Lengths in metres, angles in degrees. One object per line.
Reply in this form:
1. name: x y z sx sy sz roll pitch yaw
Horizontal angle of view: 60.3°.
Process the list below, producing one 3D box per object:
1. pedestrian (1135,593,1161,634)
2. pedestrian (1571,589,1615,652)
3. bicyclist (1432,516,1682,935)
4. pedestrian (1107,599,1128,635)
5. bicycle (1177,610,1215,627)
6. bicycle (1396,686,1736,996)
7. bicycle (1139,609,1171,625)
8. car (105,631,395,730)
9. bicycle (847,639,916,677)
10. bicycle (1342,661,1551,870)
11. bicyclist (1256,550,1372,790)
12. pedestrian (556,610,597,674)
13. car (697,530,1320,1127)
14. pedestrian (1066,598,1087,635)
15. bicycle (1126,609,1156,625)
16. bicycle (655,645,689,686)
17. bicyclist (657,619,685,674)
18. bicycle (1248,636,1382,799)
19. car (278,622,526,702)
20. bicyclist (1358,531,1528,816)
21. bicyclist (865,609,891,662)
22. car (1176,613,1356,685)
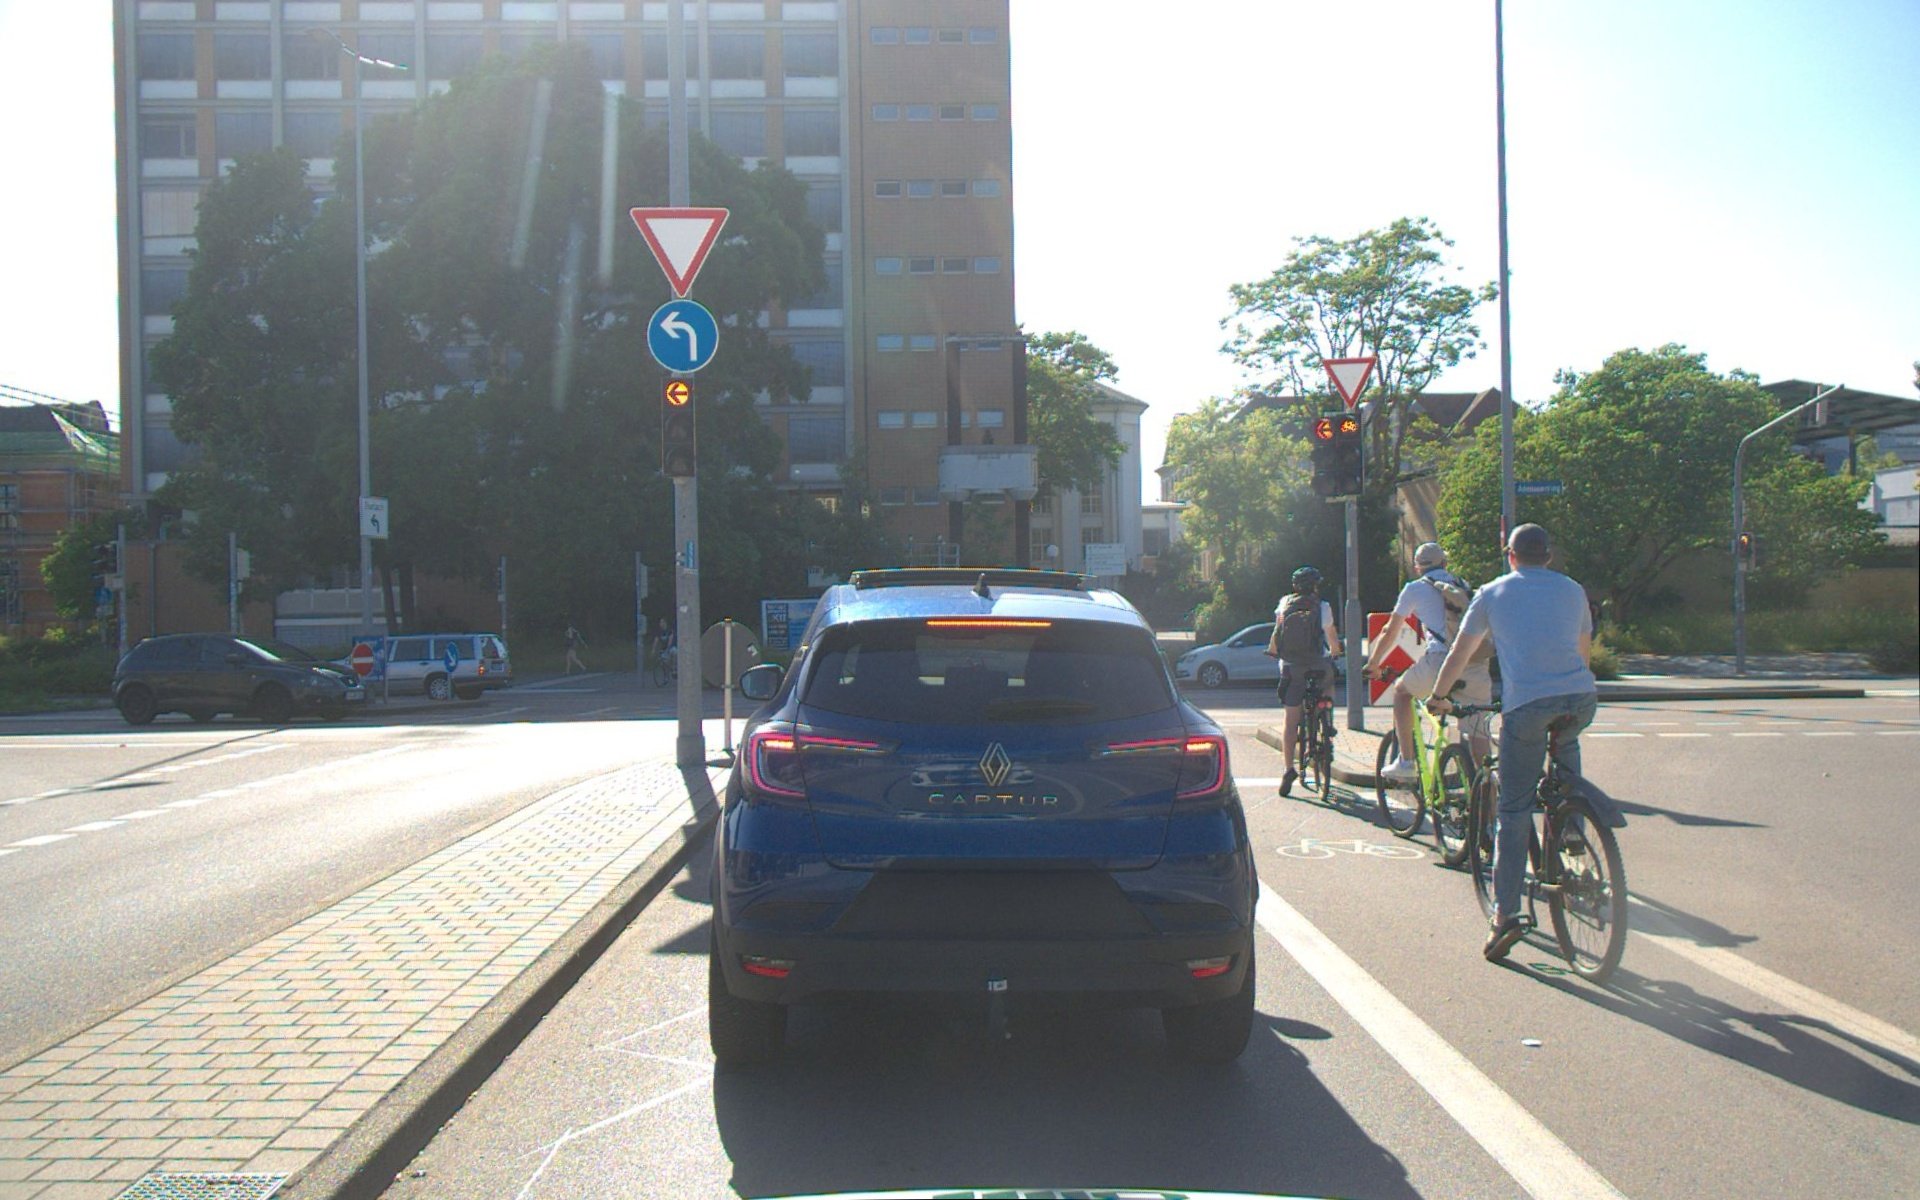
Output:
1. pedestrian: 9.749 0.697 85.784 1.132 2.049 1.164 -1 0 -1
2. pedestrian: 16.756 0.539 43.808 0.960 1.632 0.827 -1 0 13
3. bicyclist: 2.576 0.511 7.222 0.725 1.703 0.865 -1 0 -3
4. pedestrian: 8.939 0.958 93.732 1.126 2.049 0.952 -1 0 6
5. bicycle: 11.868 0.927 83.209 1.739 0.837 0.763 -1 0 -11
6. bicycle: 2.582 0.974 7.312 0.732 1.069 1.902 -1 0 -2
7. bicycle: 11.213 0.979 95.000 1.735 0.914 0.765 -1 0 -1
8. car: -11.640 1.311 27.240 3.902 1.414 2.002 -2 0 11
9. bicycle: -2.154 1.594 45.396 1.826 0.975 0.624 -1 0 4
10. bicycle: 2.883 0.943 9.992 0.657 1.069 1.843 1 0 -2
11. bicyclist: 2.777 0.533 13.049 0.663 1.816 0.939 1 -1 -2
12. pedestrian: -11.443 1.243 49.340 0.912 1.888 0.808 -1 0 8
13. car: 0.087 0.643 6.625 1.758 1.684 3.852 1 0 -2
14. pedestrian: 6.505 0.912 92.194 1.126 2.049 0.952 -1 0 6
15. bicycle: 10.867 1.009 99.359 1.735 0.908 0.765 -1 0 -1
16. bicycle: -7.624 1.731 43.684 0.687 1.025 1.860 -1 -3 -16
17. bicyclist: -7.654 1.240 43.756 0.637 1.437 0.635 -1 -3 -17
18. bicycle: 2.775 0.887 13.104 0.602 1.158 1.825 0 0 -2
19. car: -12.204 1.348 36.313 4.760 1.621 1.939 -1 0 6
20. bicyclist: 2.887 0.421 9.981 0.660 1.610 1.081 1 0 -2
21. bicyclist: -2.250 0.968 45.388 0.623 1.437 0.649 -1 0 4
22. car: 6.882 1.116 37.274 3.870 1.517 1.812 -1 -2 11
